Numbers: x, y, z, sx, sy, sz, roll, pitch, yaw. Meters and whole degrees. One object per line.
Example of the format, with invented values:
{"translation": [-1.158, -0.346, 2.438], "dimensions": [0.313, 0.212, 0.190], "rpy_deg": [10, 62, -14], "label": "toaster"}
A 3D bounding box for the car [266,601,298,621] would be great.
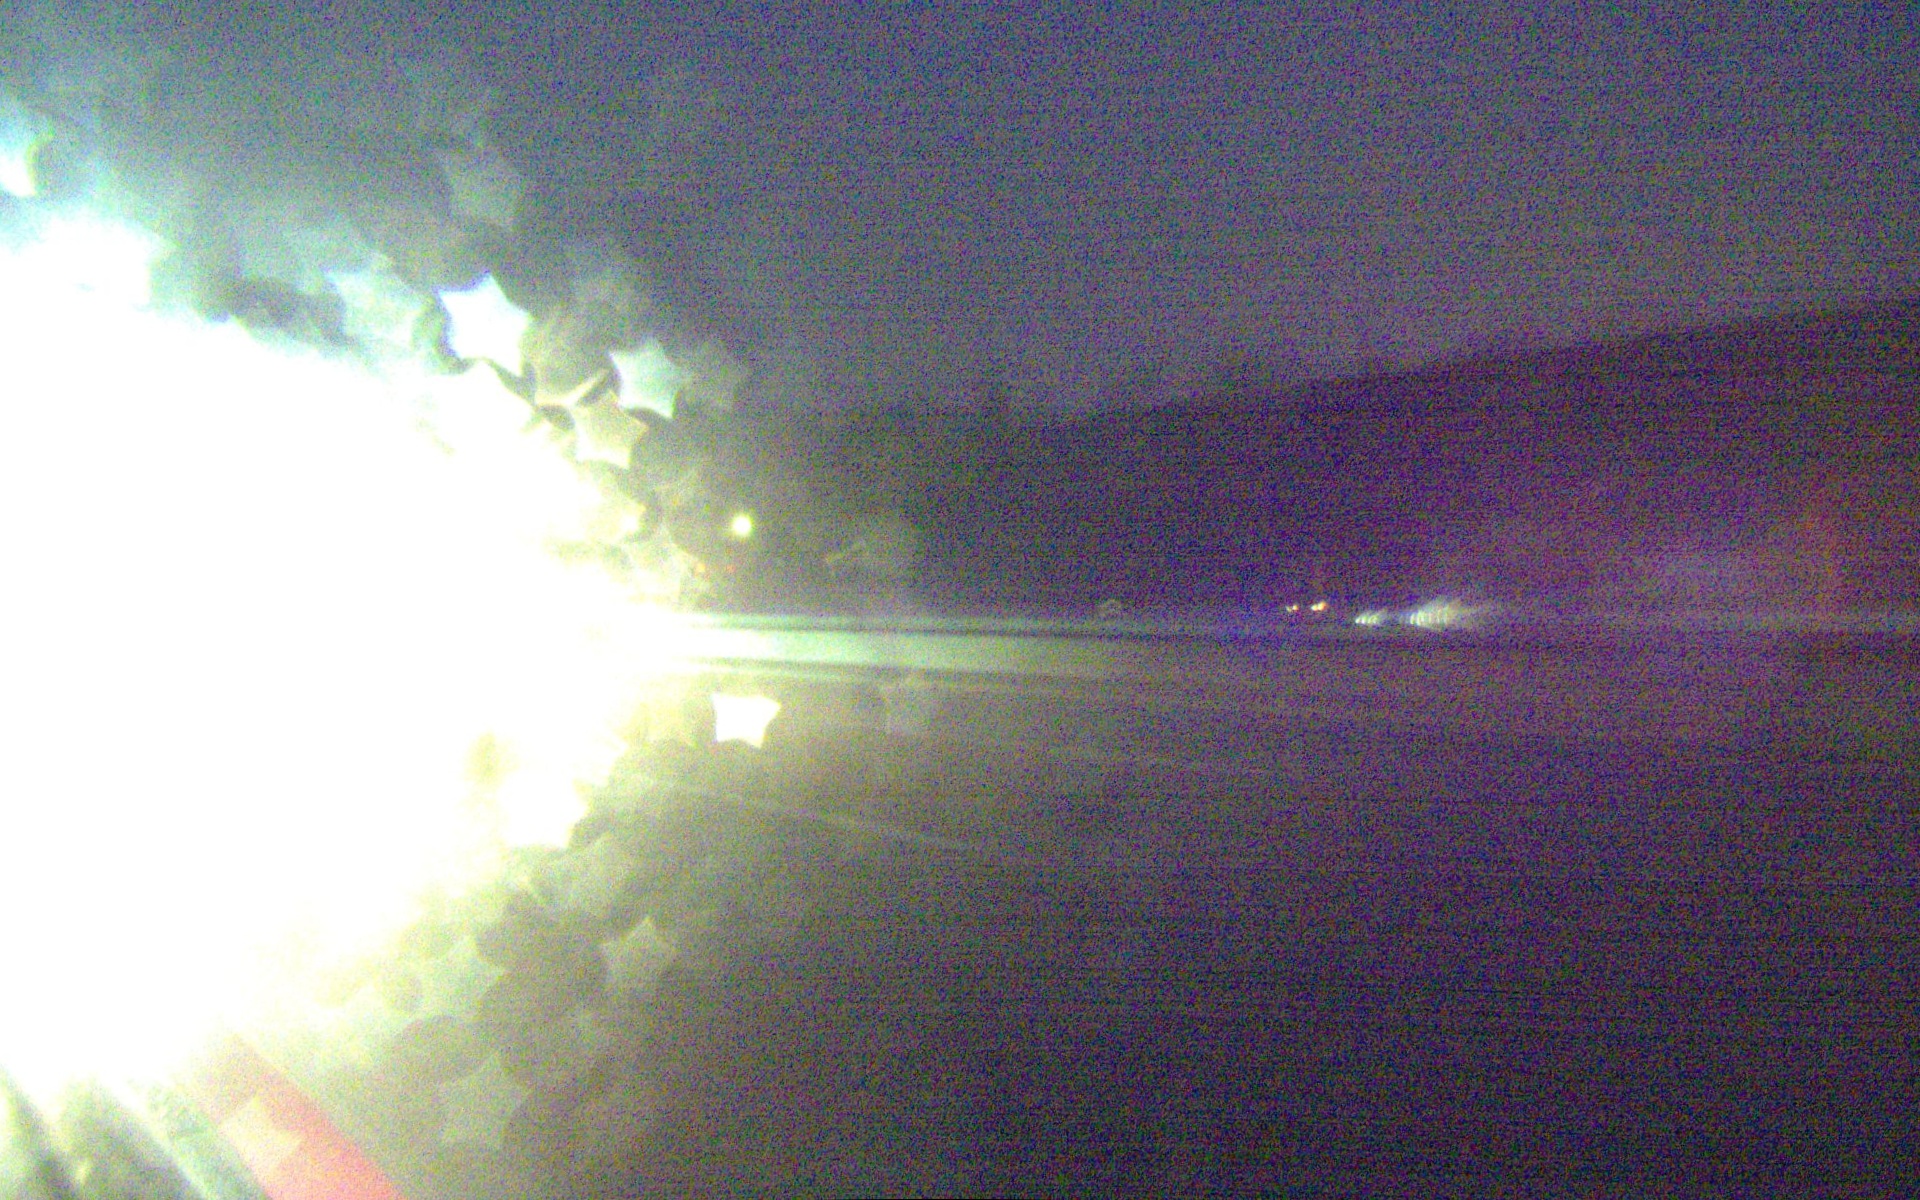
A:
{"translation": [-71.622, 1.161, 106.875], "dimensions": [4.001, 1.996, 1.972], "rpy_deg": [0, 3, 44], "label": "car"}

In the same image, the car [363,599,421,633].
{"translation": [-36.690, 1.004, 65.287], "dimensions": [4.278, 2.028, 1.972], "rpy_deg": [0, 3, 43], "label": "car"}

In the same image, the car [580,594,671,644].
{"translation": [-15.068, 0.822, 45.489], "dimensions": [4.278, 2.028, 1.972], "rpy_deg": [0, 3, 43], "label": "car"}

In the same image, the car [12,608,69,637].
{"translation": [-52.676, 1.260, 57.950], "dimensions": [3.997, 1.608, 1.897], "rpy_deg": [0, 1, 40], "label": "car"}

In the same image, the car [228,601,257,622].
{"translation": [-74.153, 1.179, 104.559], "dimensions": [1.970, 2.028, 4.005], "rpy_deg": [-4, 3, -42], "label": "car"}

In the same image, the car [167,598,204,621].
{"translation": [-71.698, 0.873, 93.633], "dimensions": [4.568, 2.028, 1.972], "rpy_deg": [0, 3, 44], "label": "car"}

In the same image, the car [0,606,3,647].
{"translation": [-40.156, 1.065, 40.747], "dimensions": [3.997, 1.608, 1.897], "rpy_deg": [0, 1, 40], "label": "car"}

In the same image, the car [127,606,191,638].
{"translation": [-42.586, 1.126, 53.789], "dimensions": [3.997, 1.608, 1.897], "rpy_deg": [0, 1, 40], "label": "car"}

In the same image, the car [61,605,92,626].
{"translation": [-81.567, 1.422, 93.431], "dimensions": [1.903, 1.807, 4.003], "rpy_deg": [-4, 3, -44], "label": "car"}

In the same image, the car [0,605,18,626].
{"translation": [-87.200, 1.448, 92.071], "dimensions": [4.001, 1.807, 1.904], "rpy_deg": [0, 3, 44], "label": "car"}

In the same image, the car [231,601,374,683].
{"translation": [-14.582, 0.853, 22.366], "dimensions": [4.000, 1.608, 1.703], "rpy_deg": [0, 1, 43], "label": "car"}

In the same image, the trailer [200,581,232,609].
{"translation": [-106.452, -0.759, 144.634], "dimensions": [2.620, 3.758, 13.966], "rpy_deg": [-4, 3, -40], "label": "trailer"}

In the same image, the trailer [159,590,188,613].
{"translation": [-148.274, 0.302, 190.770], "dimensions": [2.738, 4.058, 14.027], "rpy_deg": [-4, 3, -43], "label": "trailer"}
